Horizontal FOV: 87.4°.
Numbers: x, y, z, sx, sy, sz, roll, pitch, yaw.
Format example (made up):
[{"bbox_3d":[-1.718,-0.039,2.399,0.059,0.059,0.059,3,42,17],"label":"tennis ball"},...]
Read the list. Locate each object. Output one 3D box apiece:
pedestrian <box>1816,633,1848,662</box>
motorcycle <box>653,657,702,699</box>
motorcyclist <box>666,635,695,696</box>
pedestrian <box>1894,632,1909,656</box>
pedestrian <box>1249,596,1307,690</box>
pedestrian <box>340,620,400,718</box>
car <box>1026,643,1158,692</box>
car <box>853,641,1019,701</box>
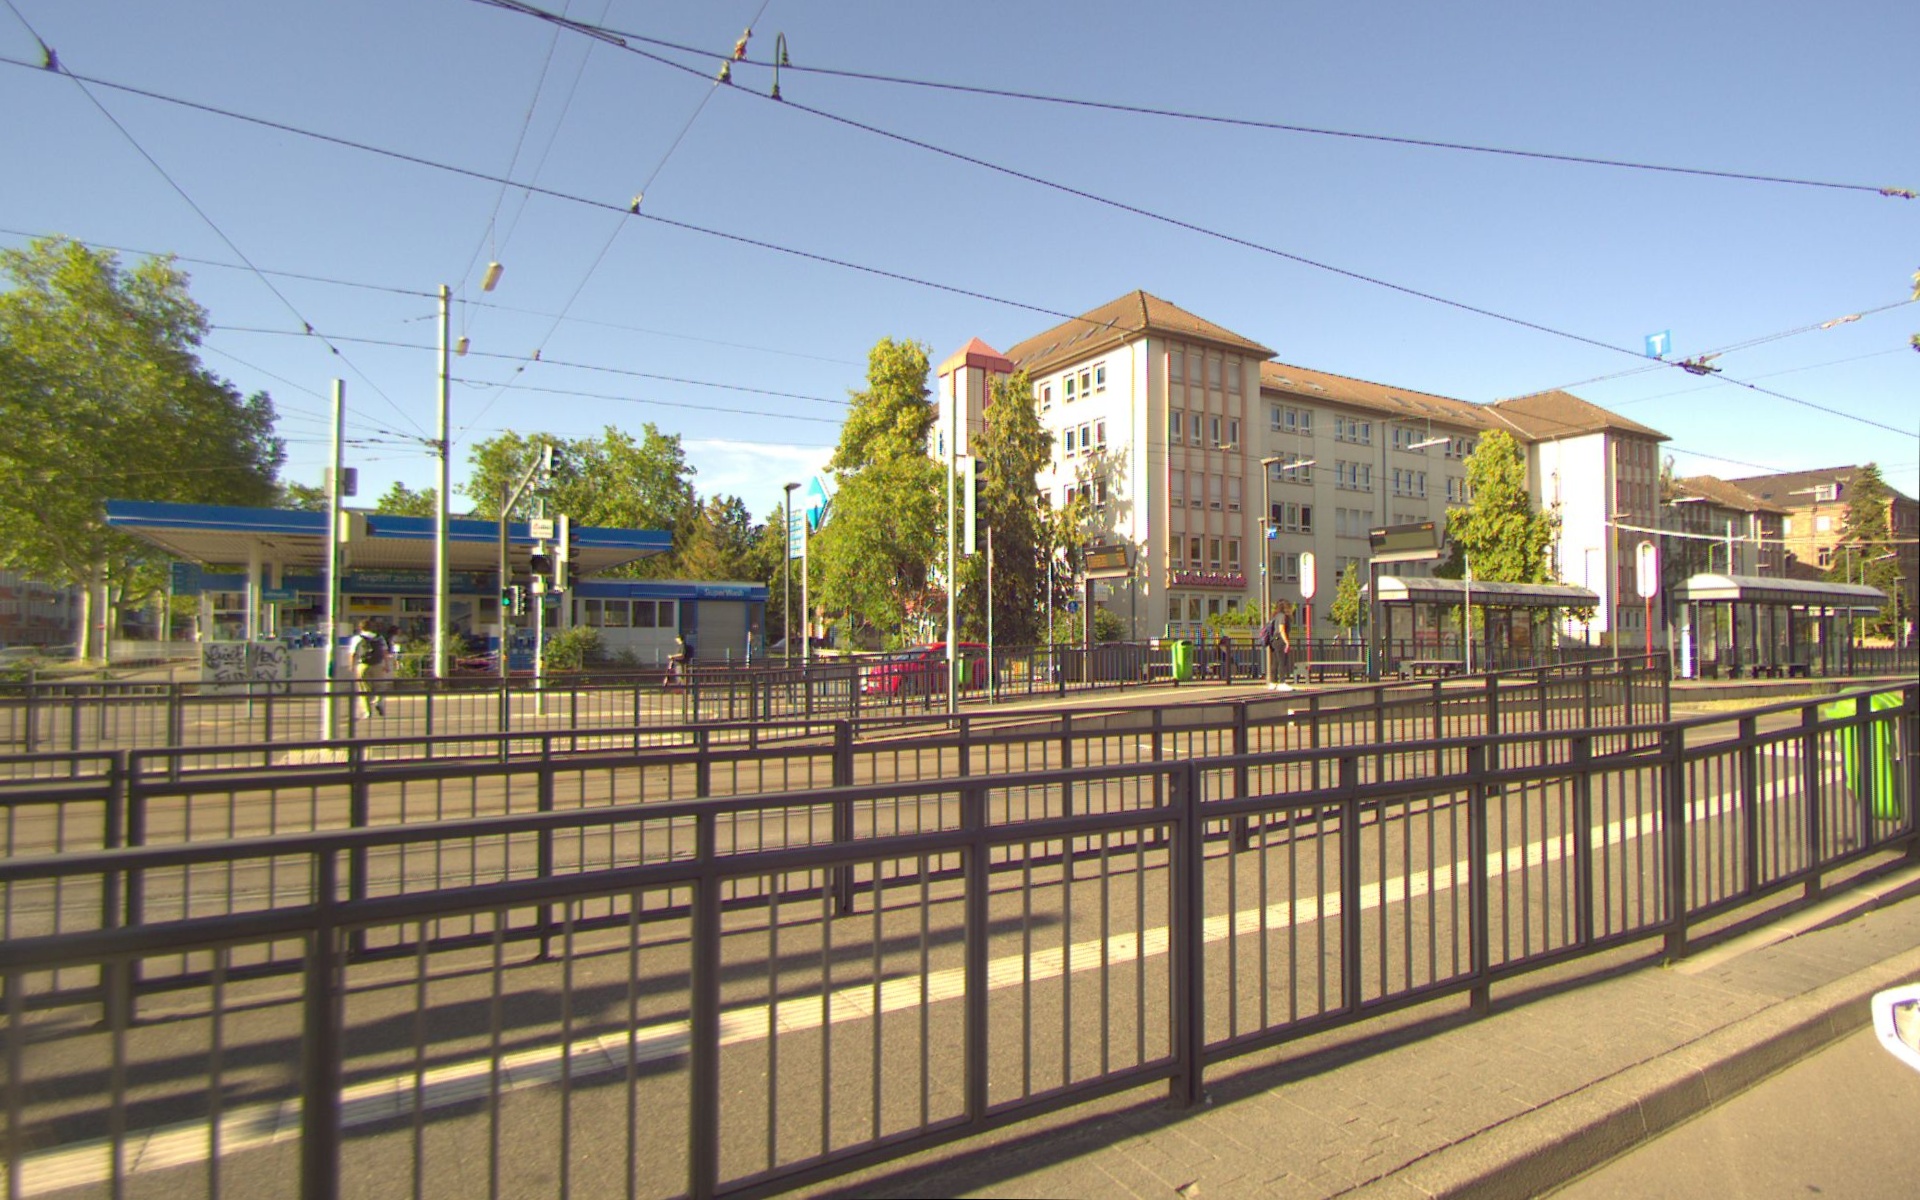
[{"bbox_3d":[43.256,2.338,49.843,0.869,1.394,0.970,1,-2,-31],"label":"pedestrian"},{"bbox_3d":[-8.738,2.398,31.112,1.370,1.261,0.548,1,-2,-28],"label":"motorcycle"},{"bbox_3d":[-8.668,2.029,31.159,0.736,1.877,0.543,1,-2,-28],"label":"motorcyclist"},{"bbox_3d":[72.165,3.354,76.971,0.566,1.861,0.689,1,-2,-31],"label":"pedestrian"},{"bbox_3d":[5.624,0.753,17.784,0.727,1.613,0.681,1,-2,-30],"label":"pedestrian"},{"bbox_3d":[-10.562,1.214,17.991,0.820,1.712,0.646,2,-2,-39],"label":"pedestrian"},{"bbox_3d":[4.242,2.111,32.127,3.952,1.439,1.790,1,-2,-30],"label":"car"},{"bbox_3d":[-0.603,1.781,25.952,3.952,1.439,1.790,1,-2,-30],"label":"car"}]
